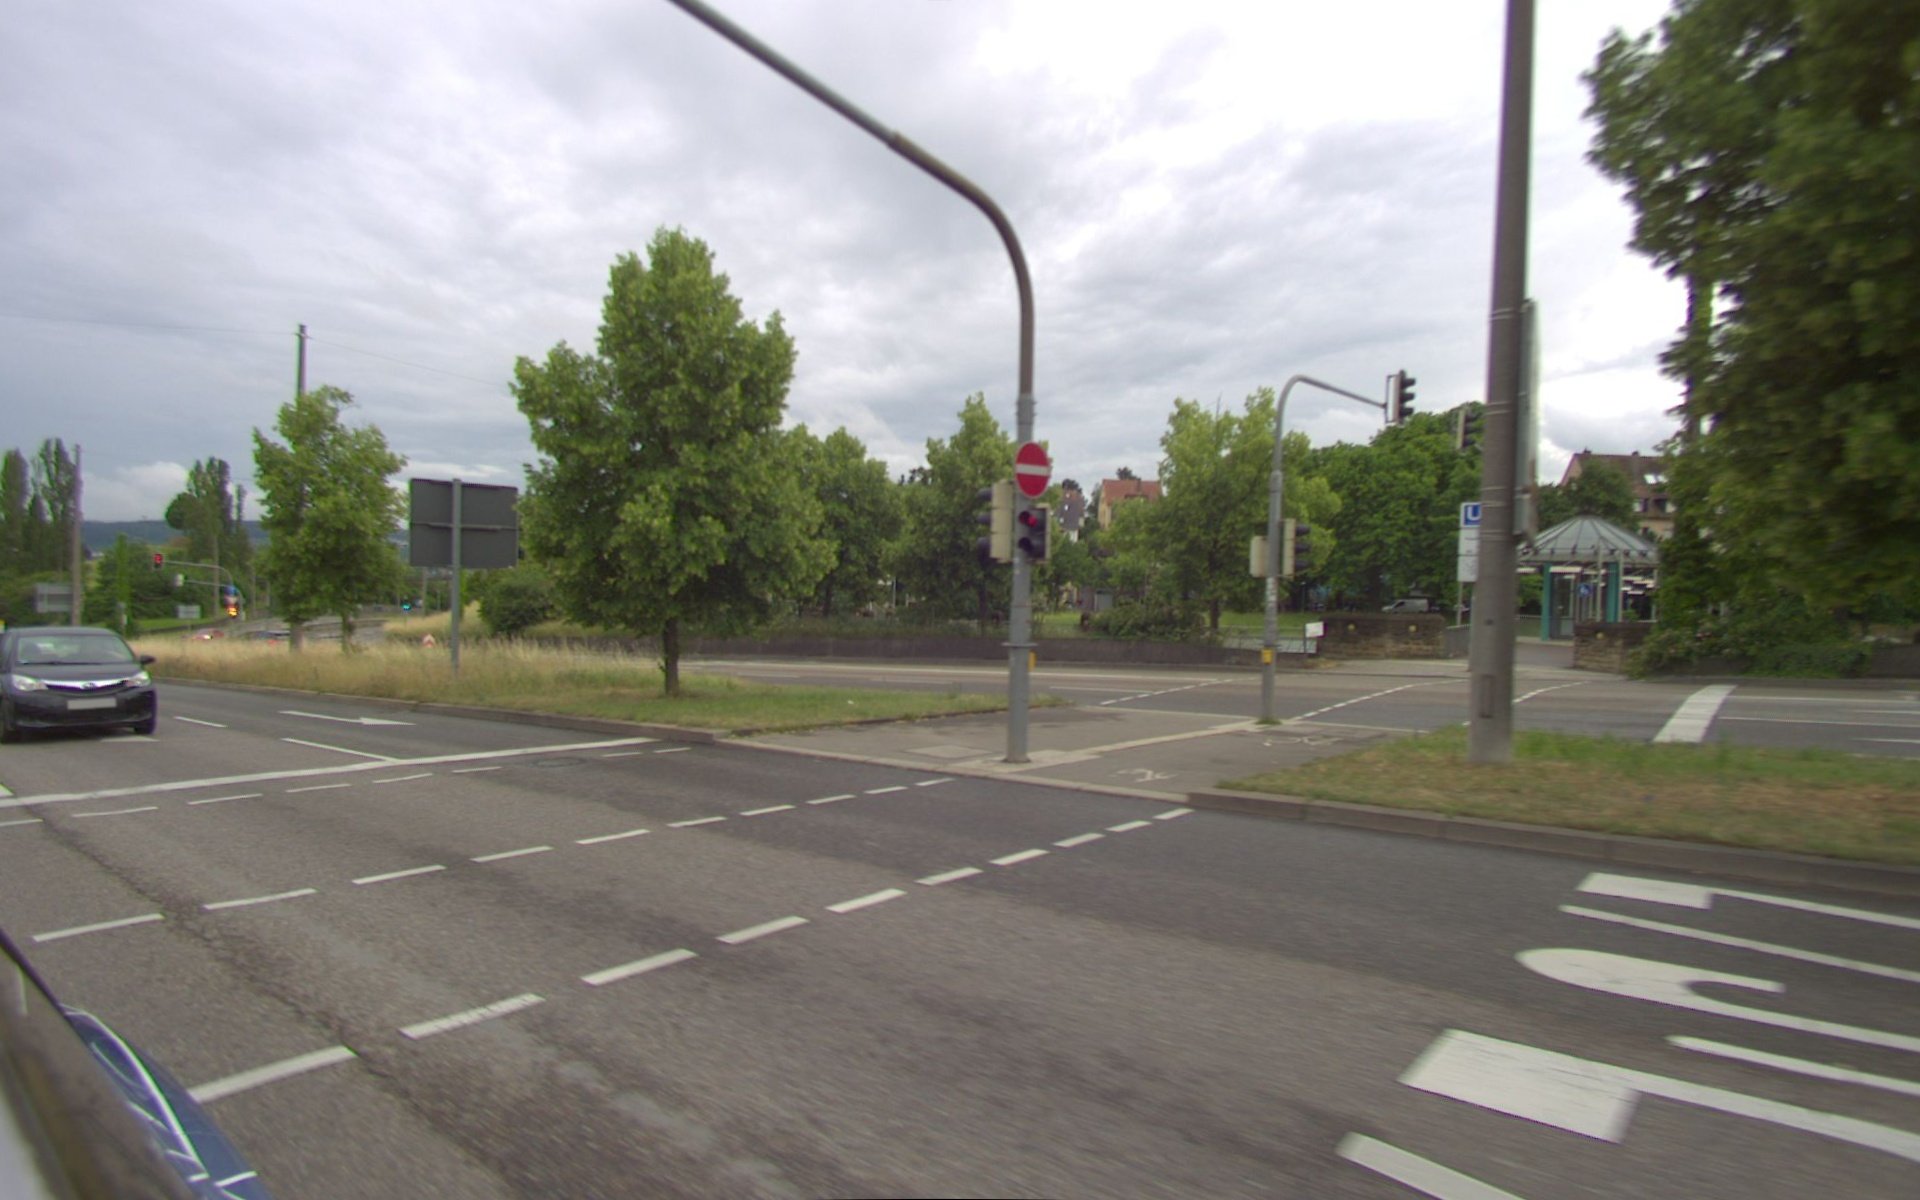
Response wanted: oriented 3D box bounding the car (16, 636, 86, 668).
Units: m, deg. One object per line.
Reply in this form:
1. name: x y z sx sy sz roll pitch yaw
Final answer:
1. car: -63.142 3.619 70.390 1.967 2.029 4.011 -3 -1 -15

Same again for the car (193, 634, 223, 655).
1. car: -78.229 4.669 105.339 1.966 2.029 4.012 -1 -3 -28

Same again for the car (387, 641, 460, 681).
1. car: -28.225 3.167 53.176 3.996 2.029 1.974 -2 -3 39

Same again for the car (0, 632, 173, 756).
1. car: -13.325 1.313 15.015 4.039 1.577 1.778 -3 -3 40

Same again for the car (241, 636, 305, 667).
1. car: -39.233 2.927 57.741 3.993 1.632 1.844 -3 -2 37

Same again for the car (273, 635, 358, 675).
1. car: -29.397 2.498 46.106 4.013 1.652 1.975 -3 -1 37

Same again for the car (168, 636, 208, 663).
1. car: -63.964 4.108 83.911 1.966 2.029 4.012 -3 -1 -28
